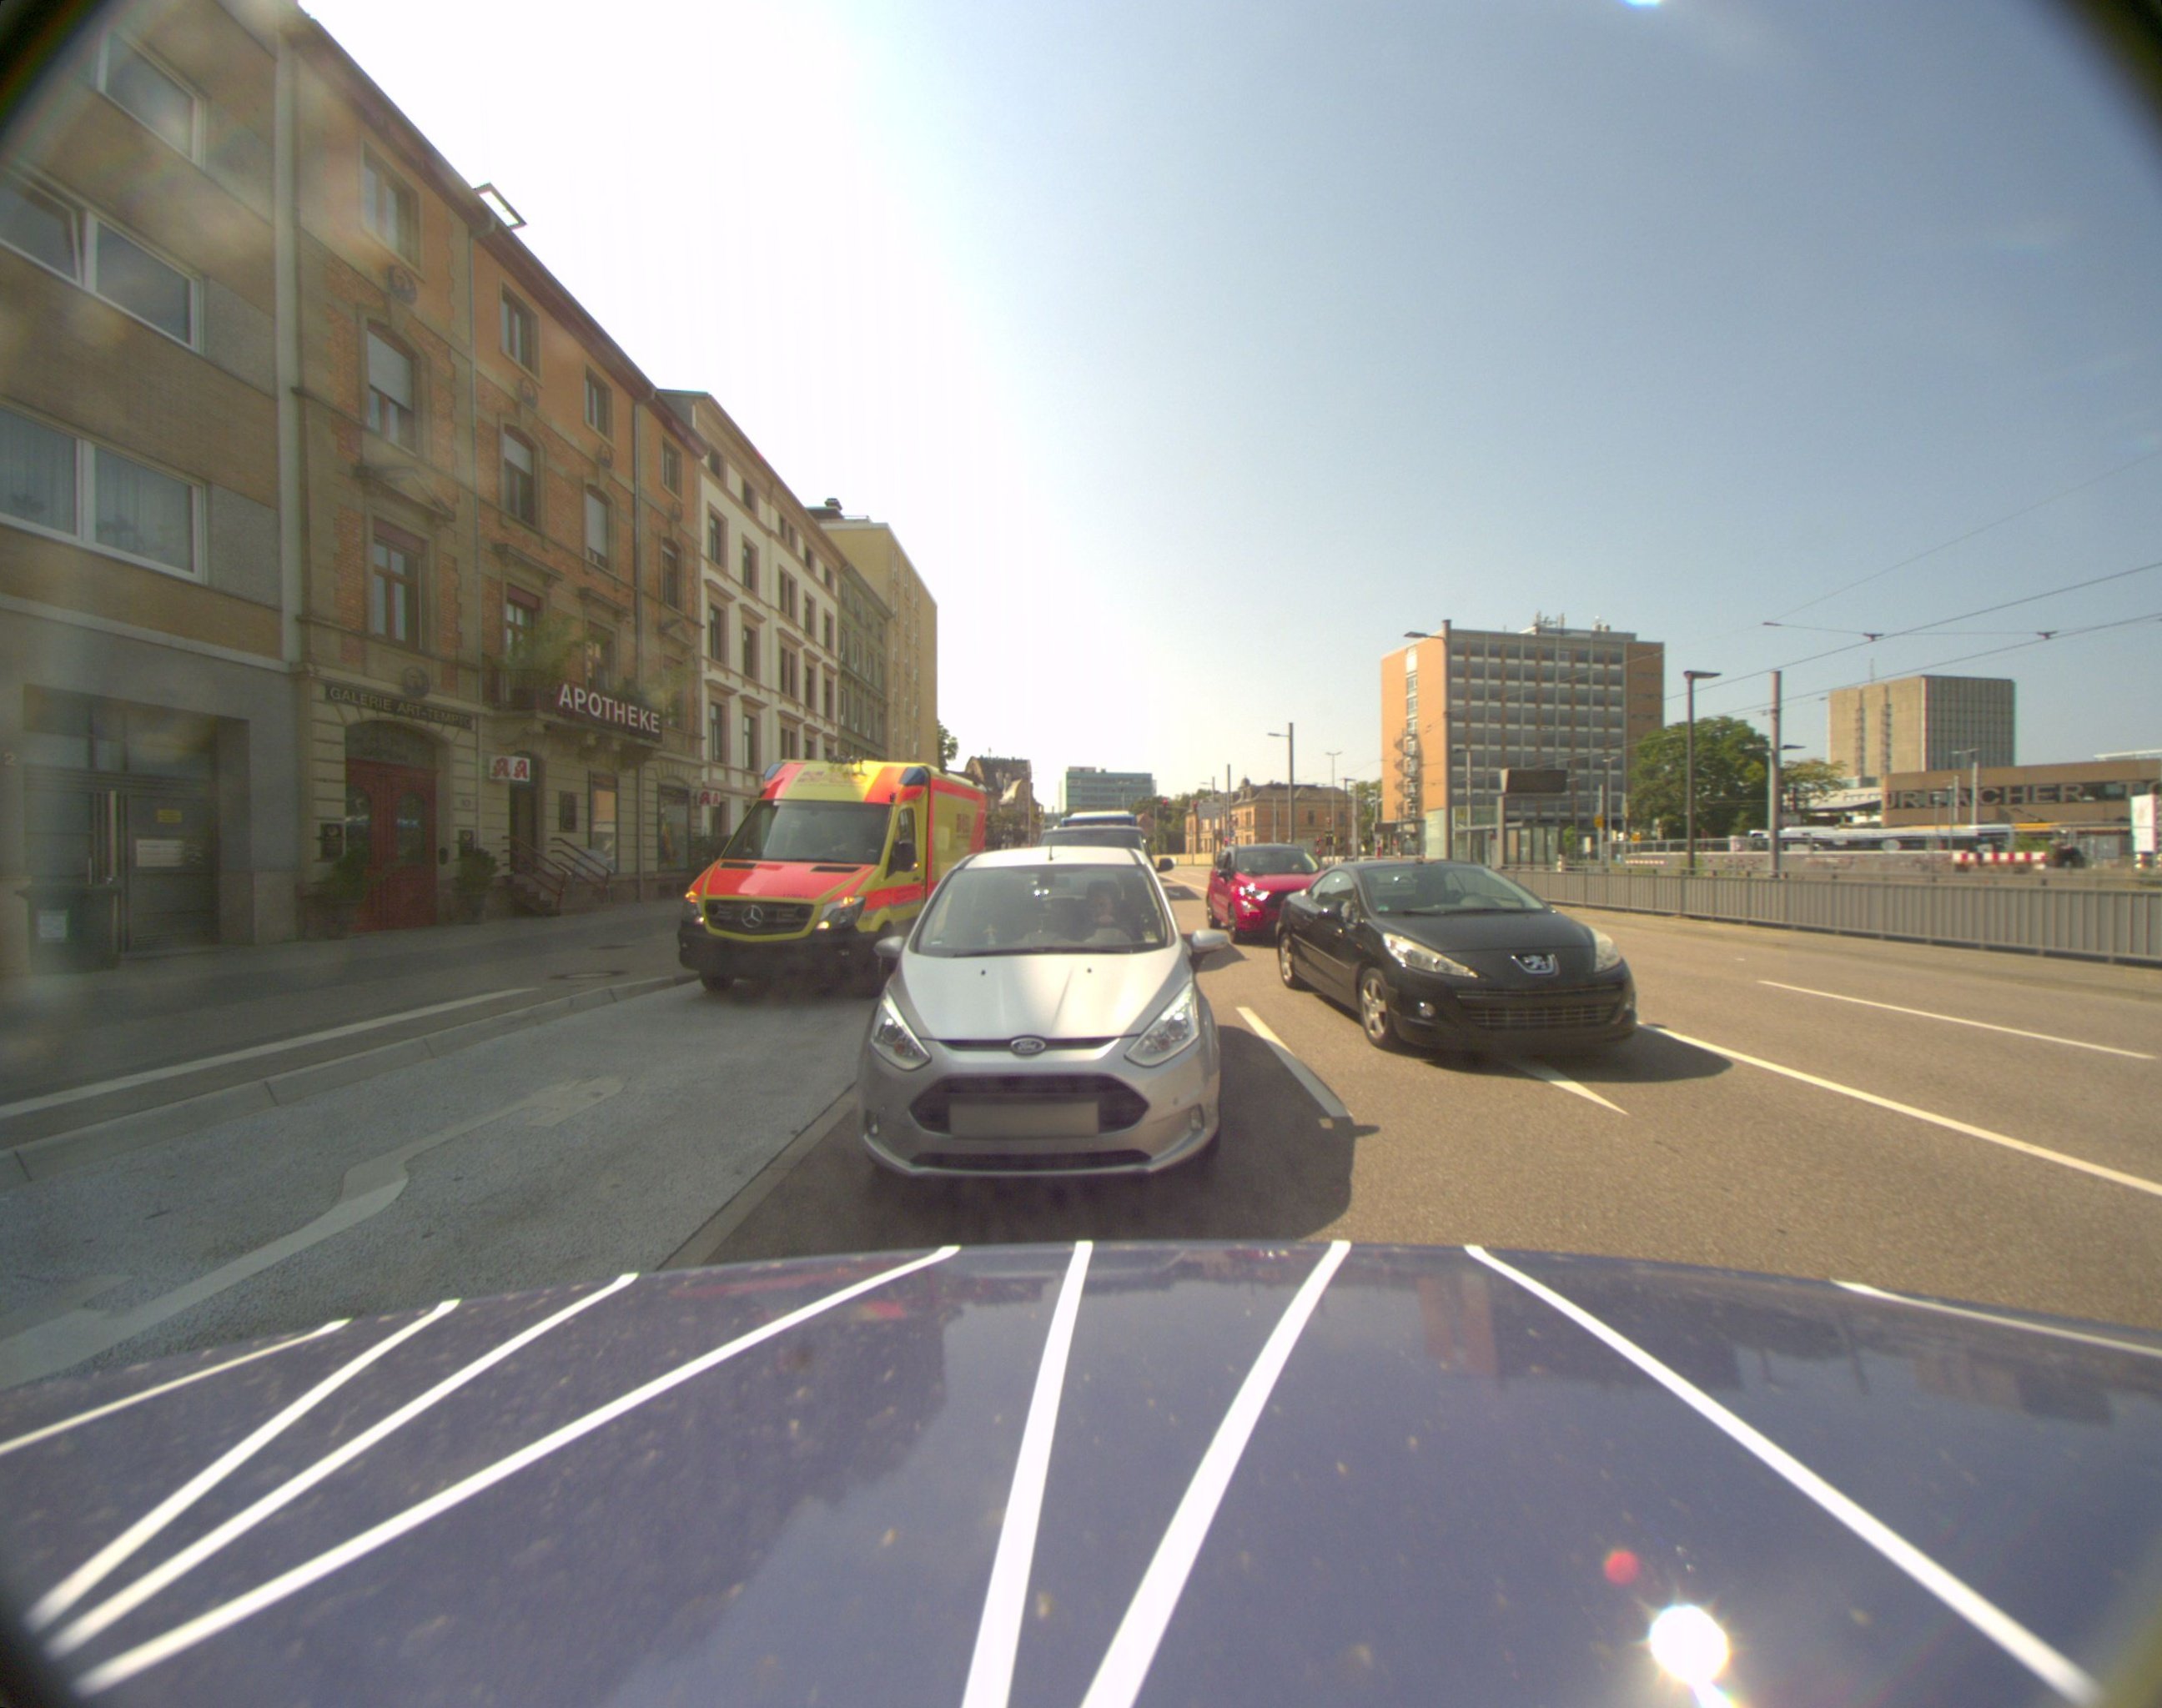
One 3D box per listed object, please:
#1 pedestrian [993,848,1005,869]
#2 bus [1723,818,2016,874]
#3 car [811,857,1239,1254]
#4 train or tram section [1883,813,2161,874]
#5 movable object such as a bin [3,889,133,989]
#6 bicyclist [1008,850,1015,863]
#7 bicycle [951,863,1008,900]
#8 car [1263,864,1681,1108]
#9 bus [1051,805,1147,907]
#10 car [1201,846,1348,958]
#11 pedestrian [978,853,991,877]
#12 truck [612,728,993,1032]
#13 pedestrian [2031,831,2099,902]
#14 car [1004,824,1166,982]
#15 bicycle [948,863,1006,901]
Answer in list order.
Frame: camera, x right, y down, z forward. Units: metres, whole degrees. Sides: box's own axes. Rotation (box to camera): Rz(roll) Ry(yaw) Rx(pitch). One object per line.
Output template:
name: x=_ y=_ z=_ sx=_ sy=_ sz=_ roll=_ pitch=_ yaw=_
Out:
pedestrian: x=-6.353 y=0.333 z=58.628 sx=0.644 sy=1.619 sz=0.798 roll=1 pitch=1 yaw=17
bus: x=52.311 y=-0.417 z=51.347 sx=3.357 sy=3.275 sz=13.371 roll=-3 pitch=0 yaw=-45
car: x=-0.184 y=0.846 z=5.126 sx=1.728 sy=1.579 sz=4.000 roll=-1 pitch=0 yaw=1
train or tram section: x=62.881 y=-0.621 z=51.057 sx=2.004 sy=3.743 sz=12.331 roll=-1 pitch=0 yaw=-45
movable object such as a bin: x=-11.997 y=0.978 z=9.030 sx=0.648 sy=1.098 sz=0.727 roll=1 pitch=0 yaw=-24
bicyclist: x=-8.591 y=0.285 z=93.940 sx=0.721 sy=1.577 sz=1.103 roll=-1 pitch=0 yaw=2
bicycle: x=-3.430 y=0.934 z=25.767 sx=1.841 sy=1.196 sz=0.434 roll=-2 pitch=1 yaw=1
car: x=2.884 y=0.846 z=6.619 sx=1.692 sy=1.405 sz=3.801 roll=-2 pitch=0 yaw=1
bus: x=0.795 y=0.033 z=30.187 sx=2.919 sy=3.119 sz=12.345 roll=-2 pitch=0 yaw=2
car: x=3.173 y=0.696 z=13.197 sx=1.634 sy=1.611 sz=3.968 roll=-2 pitch=0 yaw=2
pedestrian: x=-7.364 y=0.832 z=57.959 sx=0.687 sy=1.748 sz=0.798 roll=1 pitch=1 yaw=20
truck: x=-2.991 y=0.211 z=10.239 sx=2.333 sy=2.754 sz=6.340 roll=2 pitch=1 yaw=4
pedestrian: x=25.116 y=0.323 z=19.405 sx=0.745 sy=1.777 sz=0.761 roll=0 pitch=1 yaw=1
car: x=0.105 y=0.606 z=12.023 sx=1.998 sy=1.953 sz=4.816 roll=-2 pitch=0 yaw=1
bicycle: x=-3.457 y=0.936 z=25.331 sx=1.841 sy=1.196 sz=0.434 roll=-2 pitch=1 yaw=1
